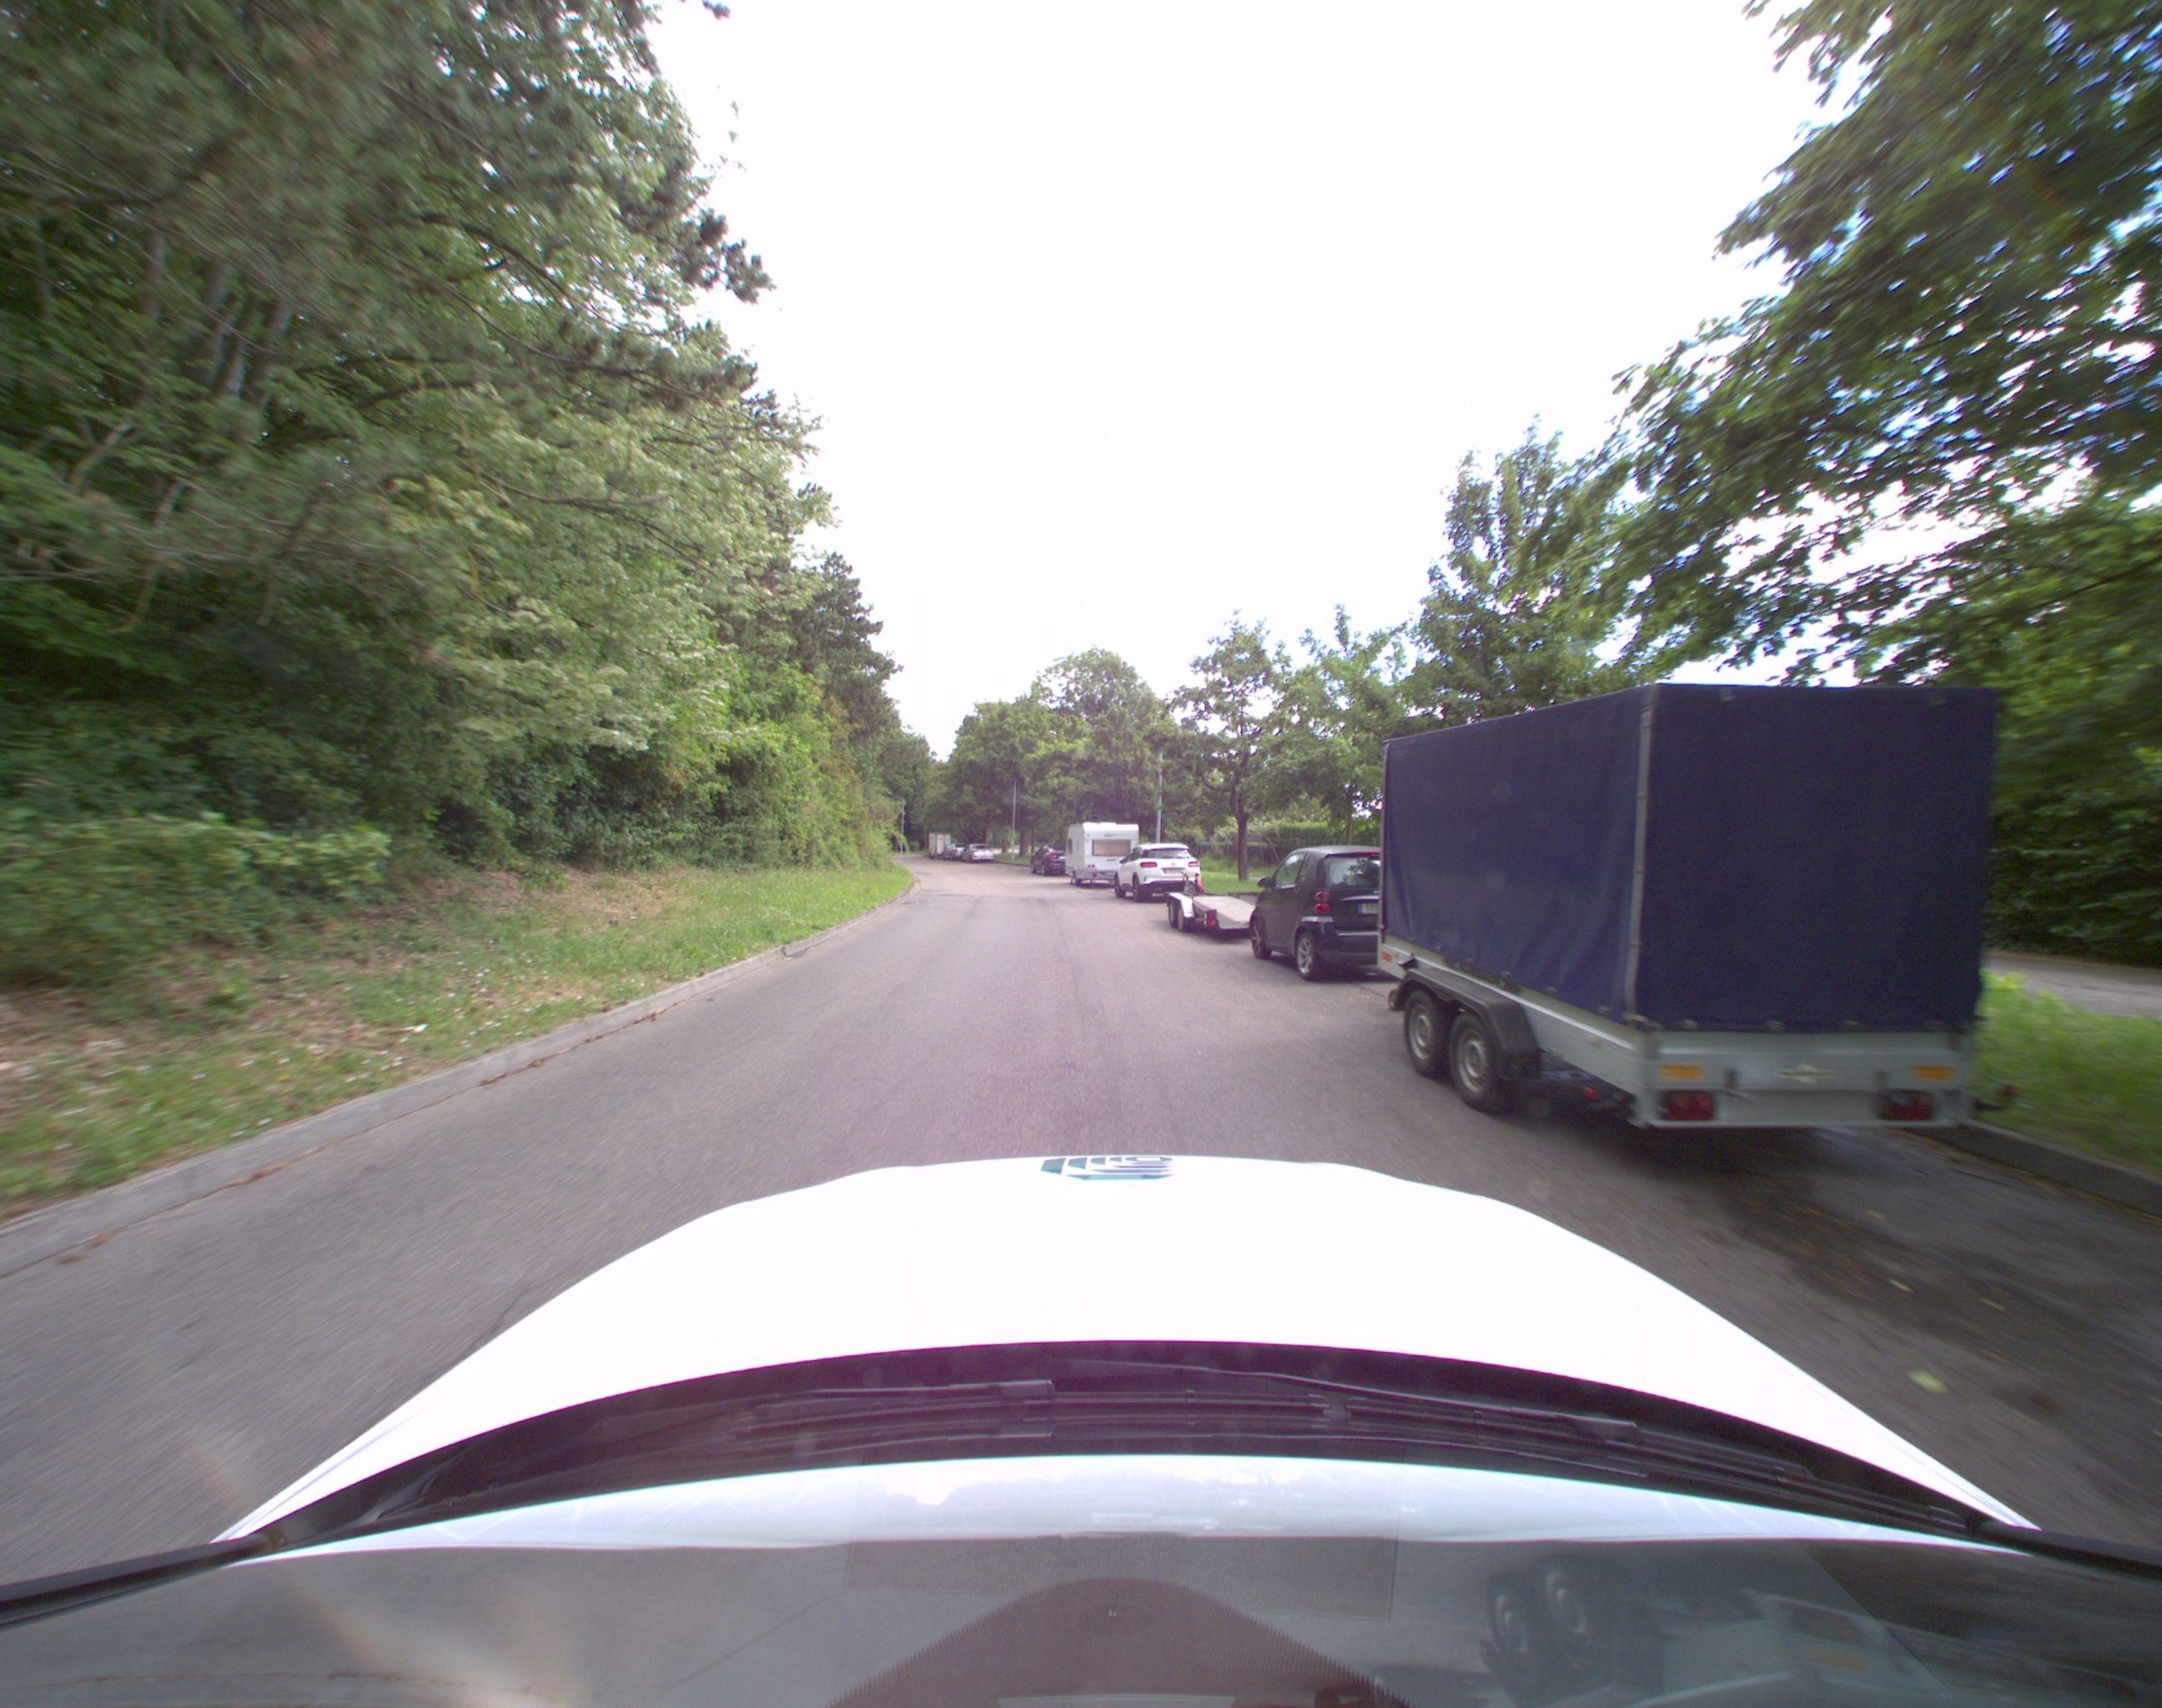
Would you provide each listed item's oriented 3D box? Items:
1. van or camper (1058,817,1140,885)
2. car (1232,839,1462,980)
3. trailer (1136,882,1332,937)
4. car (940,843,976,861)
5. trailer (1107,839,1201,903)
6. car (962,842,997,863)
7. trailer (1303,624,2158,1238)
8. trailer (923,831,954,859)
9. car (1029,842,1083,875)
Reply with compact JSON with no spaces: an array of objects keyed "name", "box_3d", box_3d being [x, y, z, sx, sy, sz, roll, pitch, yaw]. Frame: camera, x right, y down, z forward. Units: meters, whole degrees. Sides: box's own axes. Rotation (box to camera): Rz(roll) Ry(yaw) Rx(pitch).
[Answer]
[{"name":"van or camper","box_3d":[0.611,-0.127,33.773,2.162,2.536,6.009,1,0,-11]},{"name":"car","box_3d":[3.252,0.643,10.649,1.726,1.522,3.400,1,-1,-4]},{"name":"trailer","box_3d":[2.700,1.005,16.311,2.102,0.651,6.387,1,0,-6]},{"name":"car","box_3d":[-10.487,-0.176,69.160,1.750,1.525,4.596,-1,1,-26]},{"name":"trailer","box_3d":[2.100,0.490,24.733,1.772,1.731,4.636,-1,0,-9]},{"name":"car","box_3d":[-7.865,-0.089,62.996,1.908,1.477,4.033,1,-2,-19]},{"name":"trailer","box_3d":[3.173,0.228,5.530,2.099,2.361,4.703,-1,2,1]},{"name":"trailer","box_3d":[-12.941,-0.813,73.936,1.770,2.426,3.853,-1,1,-27]},{"name":"car","box_3d":[-1.386,0.216,43.281,1.852,1.643,4.506,0,1,-16]}]
